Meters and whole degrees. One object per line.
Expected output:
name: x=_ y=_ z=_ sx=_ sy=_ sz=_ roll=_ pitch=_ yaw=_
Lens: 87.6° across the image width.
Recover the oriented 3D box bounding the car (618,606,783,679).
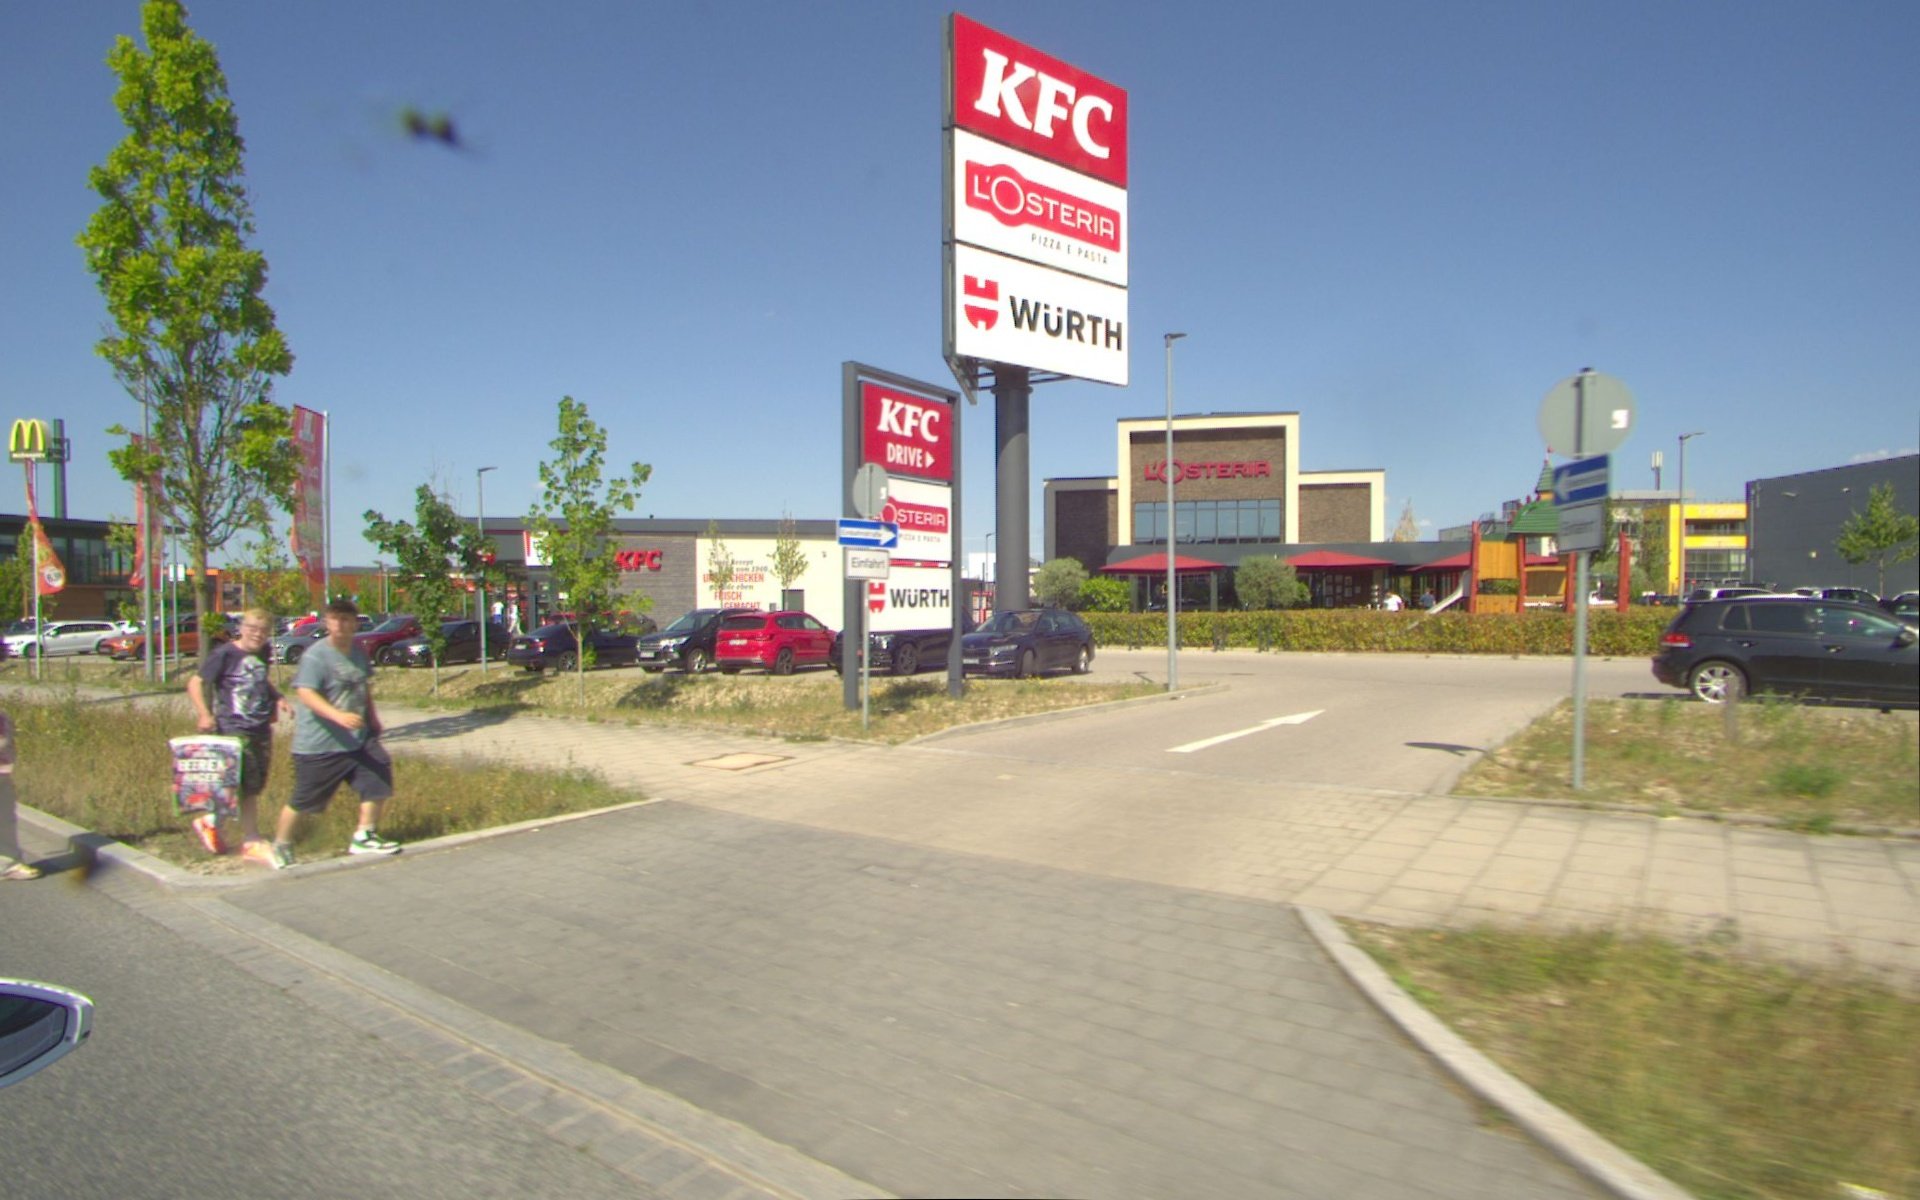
car: x=-6.966 y=1.067 z=27.328 sx=1.765 sy=1.758 sz=4.397 roll=0 pitch=1 yaw=31

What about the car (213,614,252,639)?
car: x=-45.379 y=1.647 z=62.534 sx=1.767 sy=1.470 sz=4.143 roll=-1 pitch=0 yaw=-34

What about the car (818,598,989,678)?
car: x=-1.262 y=0.849 z=25.002 sx=1.910 sy=1.758 sz=4.975 roll=0 pitch=1 yaw=29

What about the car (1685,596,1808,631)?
car: x=34.832 y=0.612 z=44.425 sx=4.029 sy=1.481 sz=1.702 roll=-1 pitch=0 yaw=3

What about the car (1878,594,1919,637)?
car: x=35.227 y=0.519 z=35.334 sx=4.029 sy=1.481 sz=1.702 roll=-1 pitch=0 yaw=3

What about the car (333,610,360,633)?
car: x=-50.371 y=1.766 z=82.179 sx=1.767 sy=1.780 sz=4.143 roll=-1 pitch=0 yaw=-34

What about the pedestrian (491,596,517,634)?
pedestrian: x=-25.098 y=0.812 z=55.119 sx=0.875 sy=2.040 sz=0.914 roll=-1 pitch=0 yaw=17

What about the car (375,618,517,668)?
car: x=-17.297 y=1.399 z=33.940 sx=1.760 sy=1.469 sz=4.156 roll=0 pitch=1 yaw=22

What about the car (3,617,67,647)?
car: x=-47.945 y=1.635 z=51.962 sx=1.767 sy=1.481 sz=4.143 roll=-1 pitch=0 yaw=-34

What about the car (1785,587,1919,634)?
car: x=35.596 y=0.421 z=39.844 sx=4.029 sy=1.780 sz=1.702 roll=-1 pitch=0 yaw=3

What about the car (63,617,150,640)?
car: x=-54.519 y=1.812 z=64.052 sx=3.943 sy=1.391 sz=1.789 roll=-1 pitch=0 yaw=-31

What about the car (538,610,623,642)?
car: x=-19.262 y=1.306 z=51.062 sx=1.834 sy=1.450 sz=4.565 roll=0 pitch=1 yaw=13

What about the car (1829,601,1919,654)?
car: x=23.691 y=0.626 z=24.094 sx=4.055 sy=1.228 sz=1.654 roll=-1 pitch=0 yaw=2

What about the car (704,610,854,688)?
car: x=-4.565 y=1.171 z=25.945 sx=1.761 sy=1.758 sz=4.408 roll=0 pitch=1 yaw=22

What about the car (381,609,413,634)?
car: x=-42.195 y=1.585 z=74.984 sx=1.767 sy=1.780 sz=4.143 roll=-1 pitch=0 yaw=-34

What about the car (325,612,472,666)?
car: x=-19.473 y=1.303 z=34.899 sx=1.839 sy=1.687 sz=4.150 roll=0 pitch=1 yaw=27

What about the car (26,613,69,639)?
car: x=-65.730 y=1.851 z=72.172 sx=1.775 sy=1.724 sz=3.973 roll=-1 pitch=0 yaw=-35

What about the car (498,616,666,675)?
car: x=-11.018 y=1.278 z=29.494 sx=1.768 sy=1.469 sz=4.390 roll=0 pitch=1 yaw=36

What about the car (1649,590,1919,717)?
car: x=11.711 y=0.672 z=13.388 sx=4.113 sy=1.560 sz=1.775 roll=-1 pitch=0 yaw=35

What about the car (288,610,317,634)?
car: x=-51.474 y=1.702 z=78.396 sx=1.767 sy=1.780 sz=4.143 roll=-1 pitch=0 yaw=-34

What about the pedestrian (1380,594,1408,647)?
pedestrian: x=14.564 y=0.697 z=33.633 sx=0.807 sy=1.772 sz=0.518 roll=-1 pitch=0 yaw=17

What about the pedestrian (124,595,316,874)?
pedestrian: x=-4.794 y=0.812 z=6.501 sx=0.794 sy=1.651 sz=0.799 roll=-1 pitch=-1 yaw=34

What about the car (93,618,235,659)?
car: x=-32.520 y=1.524 z=41.065 sx=1.836 sy=1.510 sz=4.208 roll=0 pitch=0 yaw=20

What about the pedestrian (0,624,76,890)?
pedestrian: x=-5.801 y=0.885 z=5.823 sx=0.936 sy=1.489 sz=0.791 roll=-1 pitch=-1 yaw=35

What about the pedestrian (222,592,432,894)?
pedestrian: x=-3.814 y=0.796 z=6.048 sx=0.854 sy=1.649 sz=0.807 roll=-1 pitch=-1 yaw=34

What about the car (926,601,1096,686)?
car: x=1.225 y=0.845 z=21.586 sx=1.964 sy=1.587 sz=4.400 roll=0 pitch=1 yaw=29

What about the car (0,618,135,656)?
car: x=-39.319 y=1.573 z=43.933 sx=1.836 sy=1.510 sz=4.530 roll=0 pitch=0 yaw=20

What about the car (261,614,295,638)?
car: x=-44.511 y=1.694 z=65.425 sx=1.767 sy=1.470 sz=4.143 roll=-1 pitch=0 yaw=-34

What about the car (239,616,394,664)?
car: x=-23.652 y=1.421 z=37.010 sx=1.838 sy=1.510 sz=4.555 roll=0 pitch=1 yaw=24

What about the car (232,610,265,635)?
car: x=-51.587 y=1.602 z=72.632 sx=1.767 sy=1.780 sz=4.143 roll=-1 pitch=0 yaw=-34

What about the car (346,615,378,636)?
car: x=-43.217 y=1.811 z=72.295 sx=1.767 sy=1.470 sz=4.143 roll=-1 pitch=0 yaw=-34

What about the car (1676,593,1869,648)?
car: x=23.491 y=0.588 z=29.064 sx=4.150 sy=1.491 sz=1.702 roll=-1 pitch=0 yaw=2

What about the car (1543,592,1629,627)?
car: x=34.612 y=0.494 z=55.514 sx=2.009 sy=1.839 sz=4.923 roll=0 pitch=0 yaw=5

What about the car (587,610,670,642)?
car: x=-16.647 y=1.284 z=50.543 sx=1.834 sy=1.450 sz=4.565 roll=0 pitch=1 yaw=13

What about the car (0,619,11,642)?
car: x=-66.232 y=2.065 z=68.243 sx=1.776 sy=1.533 sz=3.971 roll=-1 pitch=0 yaw=-36

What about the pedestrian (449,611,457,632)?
pedestrian: x=-31.313 y=1.324 z=61.854 sx=0.287 sy=1.257 sz=0.380 roll=-1 pitch=1 yaw=12
